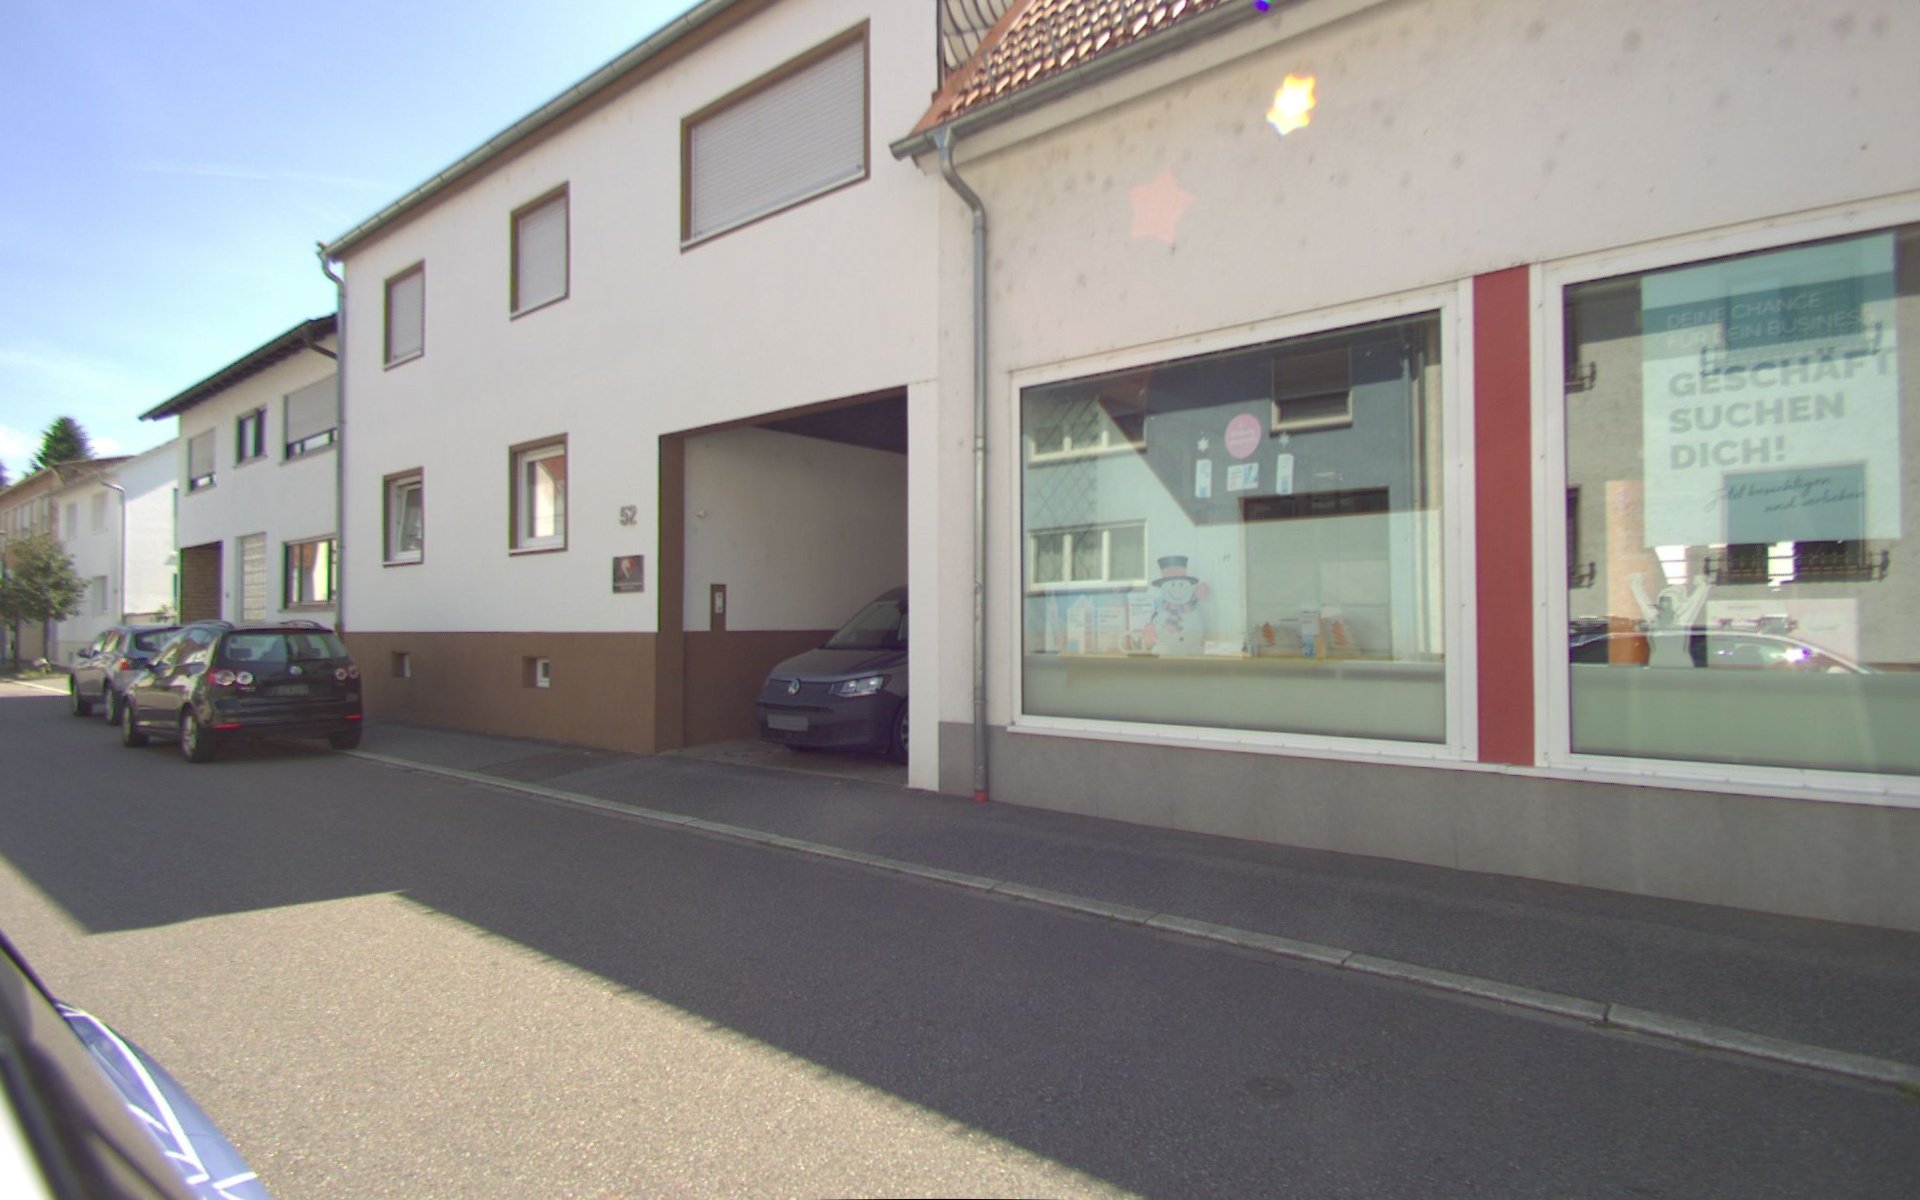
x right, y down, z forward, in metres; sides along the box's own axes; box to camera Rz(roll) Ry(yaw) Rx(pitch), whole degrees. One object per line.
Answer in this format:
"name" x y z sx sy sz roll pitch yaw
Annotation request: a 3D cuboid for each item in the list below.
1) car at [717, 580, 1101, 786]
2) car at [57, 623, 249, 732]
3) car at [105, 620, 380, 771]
"car" -0.371 0.704 10.725 1.813 1.731 3.946 -2 0 41
"car" -13.747 1.236 17.170 4.117 1.630 1.736 -2 -3 40
"car" -8.958 1.072 12.533 3.950 1.578 1.731 -2 -2 38
